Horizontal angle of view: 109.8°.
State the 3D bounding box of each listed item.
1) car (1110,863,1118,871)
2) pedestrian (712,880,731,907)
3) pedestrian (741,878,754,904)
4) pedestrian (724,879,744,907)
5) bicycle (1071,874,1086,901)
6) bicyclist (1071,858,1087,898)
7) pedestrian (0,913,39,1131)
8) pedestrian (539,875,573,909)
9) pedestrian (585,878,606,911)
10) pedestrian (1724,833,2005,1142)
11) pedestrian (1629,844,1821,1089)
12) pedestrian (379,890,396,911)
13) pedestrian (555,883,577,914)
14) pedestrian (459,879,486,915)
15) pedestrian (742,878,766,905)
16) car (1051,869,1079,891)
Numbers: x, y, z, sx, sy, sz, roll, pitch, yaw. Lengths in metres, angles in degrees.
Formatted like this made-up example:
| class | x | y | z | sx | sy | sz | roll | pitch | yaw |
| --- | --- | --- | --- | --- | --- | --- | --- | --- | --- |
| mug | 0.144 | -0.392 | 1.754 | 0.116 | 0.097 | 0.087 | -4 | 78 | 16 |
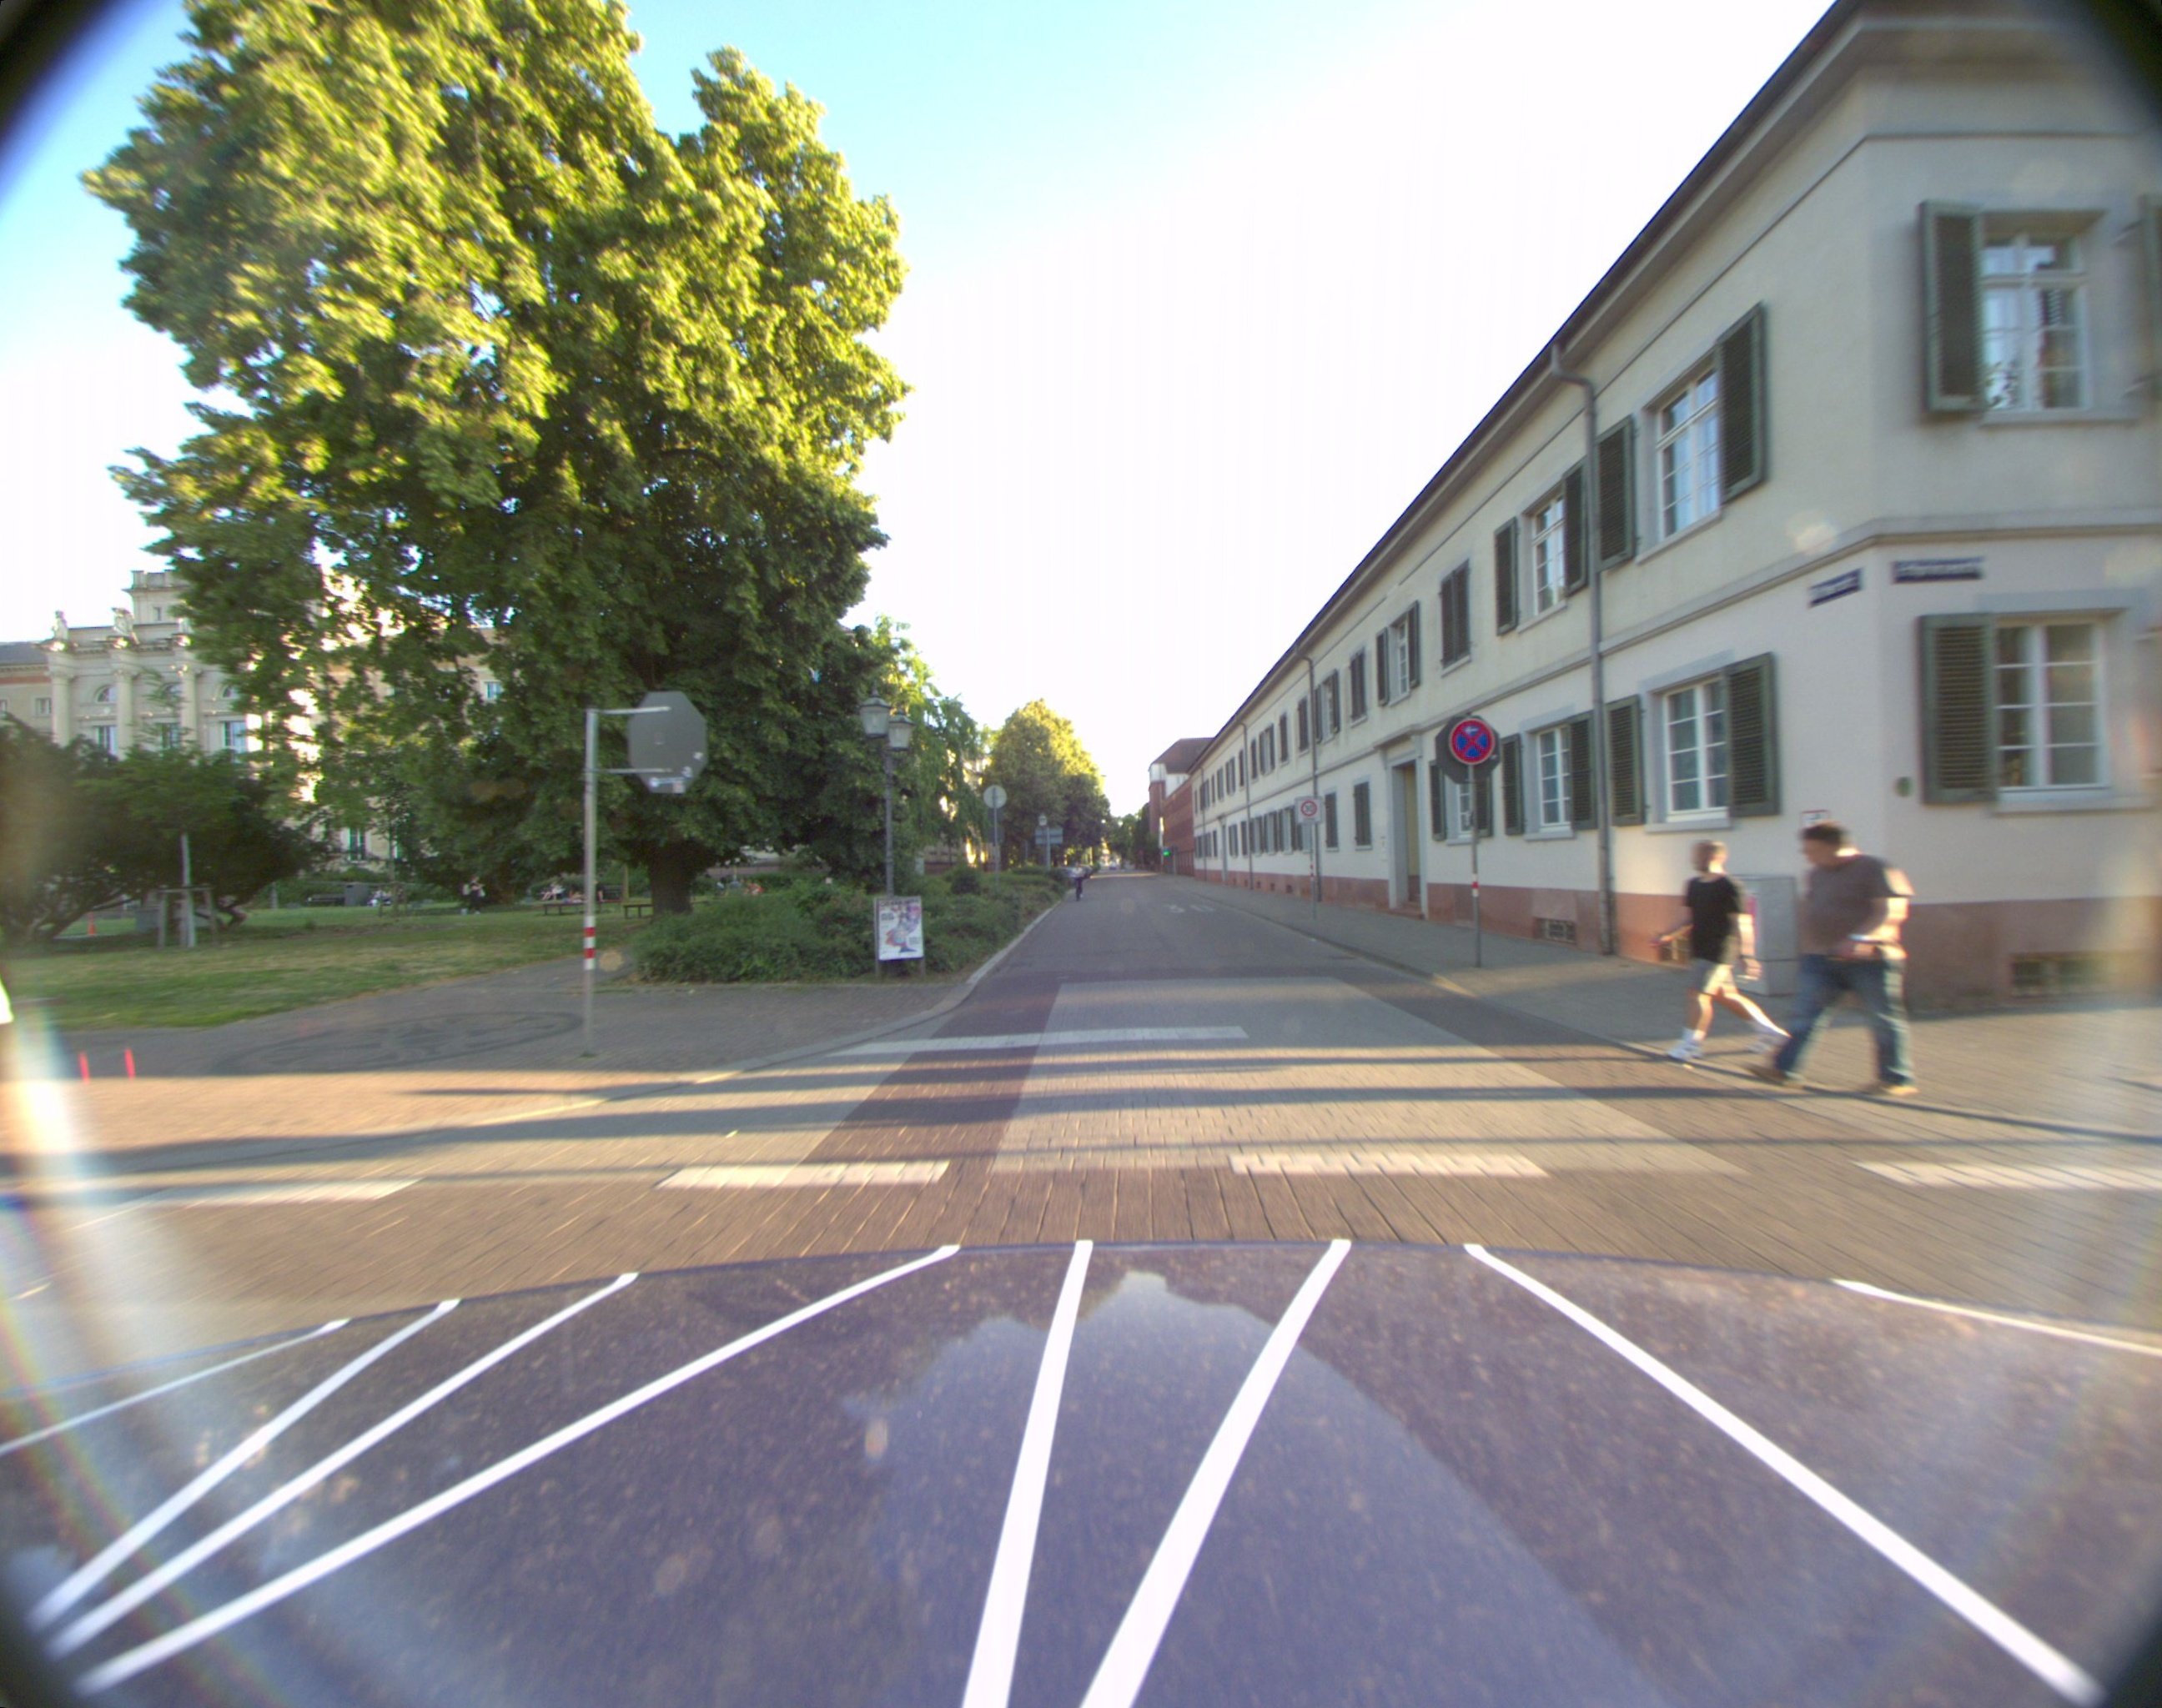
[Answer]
| class | x | y | z | sx | sy | sz | roll | pitch | yaw |
| --- | --- | --- | --- | --- | --- | --- | --- | --- | --- |
| car | 9.318 | 3.626 | 215.161 | 1.998 | 2.001 | 4.002 | -2 | -2 | 2 |
| pedestrian | -14.056 | 1.546 | 29.731 | 0.605 | 1.044 | 0.394 | -1 | 0 | -31 |
| pedestrian | -13.534 | 1.487 | 30.819 | 0.396 | 1.044 | 0.603 | -1 | 0 | -29 |
| pedestrian | -13.409 | 1.501 | 29.354 | 0.605 | 1.044 | 0.394 | -1 | 0 | -34 |
| bicycle | -0.113 | 1.530 | 35.391 | 0.653 | 1.175 | 2.345 | -1 | -1 | -1 |
| bicyclist | -0.116 | 1.116 | 35.436 | 0.672 | 1.792 | 1.060 | -2 | -1 | -1 |
| pedestrian | -8.525 | 1.267 | 5.520 | 0.858 | 1.616 | 0.757 | -1 | 0 | 3 |
| pedestrian | -32.482 | 2.337 | 47.004 | 1.395 | 2.001 | 0.982 | -2 | -2 | -1 |
| pedestrian | -18.051 | 1.483 | 28.258 | 0.605 | 1.195 | 0.394 | -1 | 0 | -39 |
| pedestrian | 4.874 | 0.780 | 4.797 | 0.941 | 1.776 | 0.762 | -1 | 0 | 0 |
| pedestrian | 4.841 | 0.806 | 5.756 | 0.858 | 1.729 | 0.650 | -1 | 0 | 0 |
| pedestrian | -42.907 | 2.854 | 46.986 | 0.500 | 1.280 | 0.592 | -2 | 0 | -4 |
| pedestrian | -18.851 | 1.620 | 27.814 | 0.605 | 1.102 | 0.394 | -1 | 0 | -43 |
| pedestrian | -25.034 | 1.761 | 31.281 | 0.754 | 1.435 | 0.816 | -1 | 0 | -32 |
| pedestrian | -13.028 | 1.493 | 30.311 | 0.798 | 1.044 | 0.394 | -1 | 0 | -34 |
| car | -1.186 | 1.960 | 57.674 | 1.815 | 1.584 | 4.002 | -2 | -2 | 2 |
